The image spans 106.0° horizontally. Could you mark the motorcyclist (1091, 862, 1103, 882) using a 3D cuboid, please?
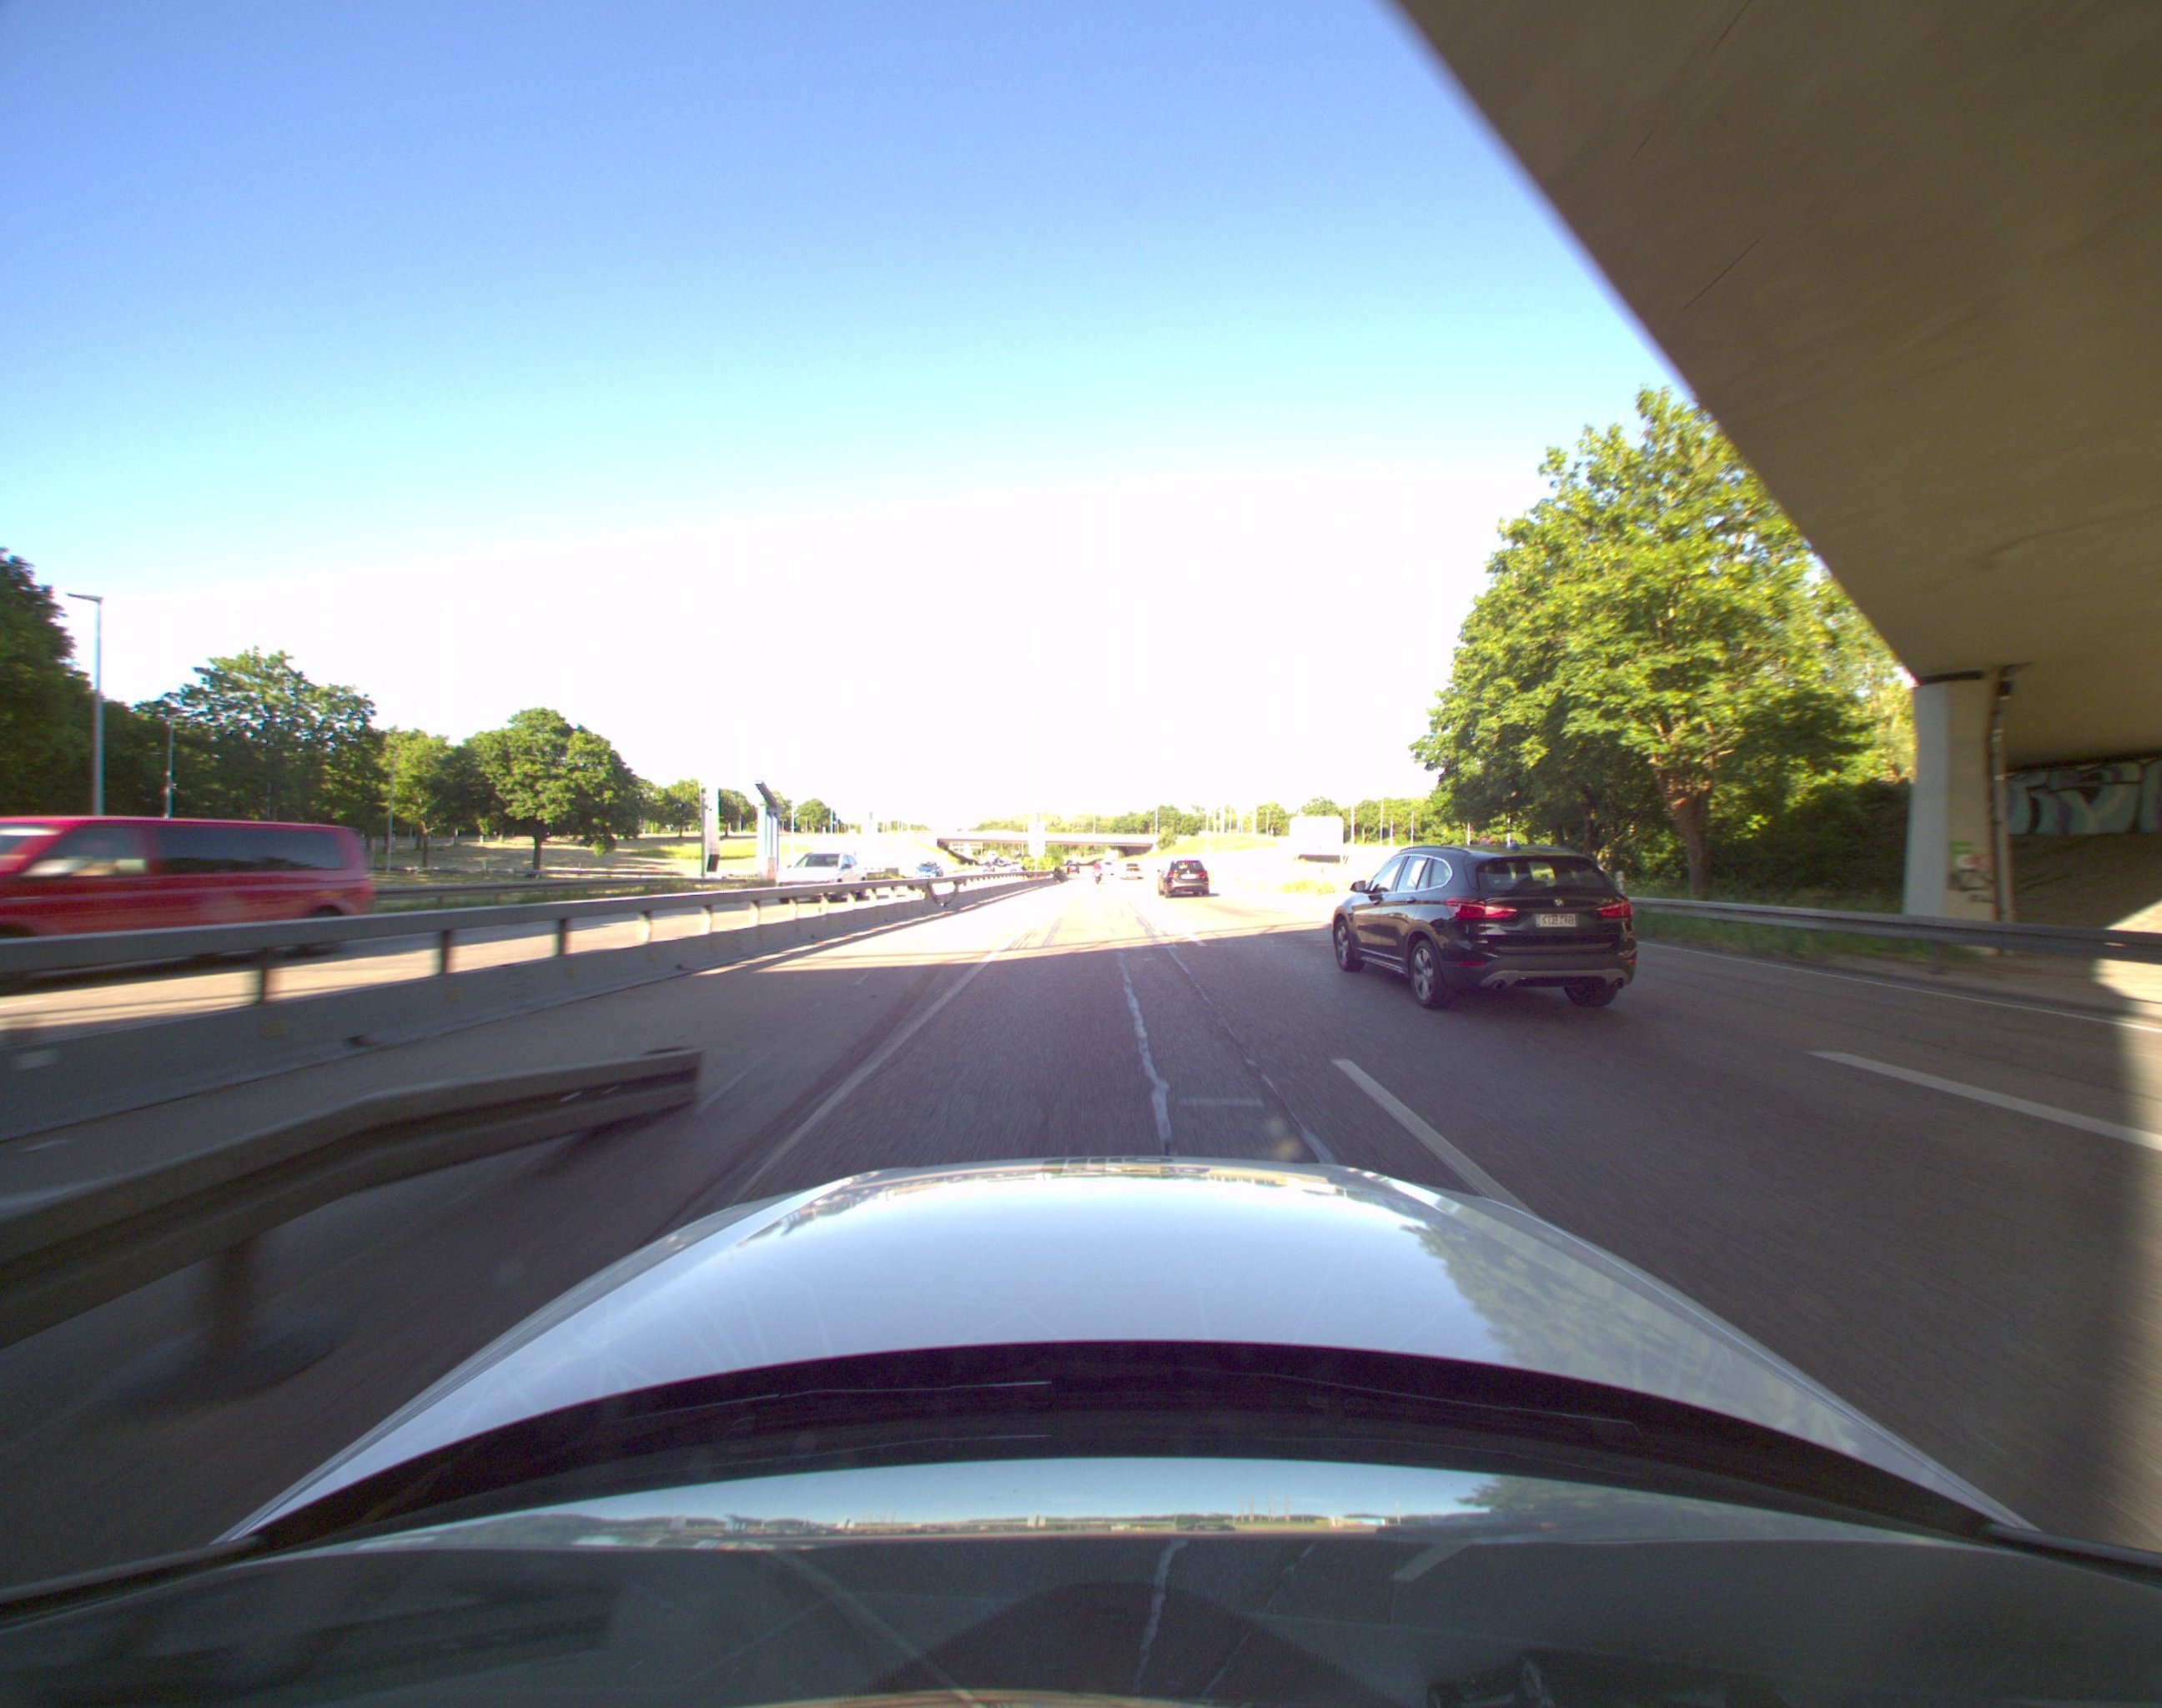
[{"bbox_3d":[1.122,1.271,57.947,0.813,1.447,1.094,-1,0,2],"label":"motorcyclist"}]

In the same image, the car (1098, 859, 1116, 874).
[{"bbox_3d":[3.165,1.491,98.493,1.892,1.767,3.997,-2,0,-2],"label":"car"}]

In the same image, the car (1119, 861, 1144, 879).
[{"bbox_3d":[4.432,1.396,72.259,1.891,1.471,3.998,-1,0,-1],"label":"car"}]

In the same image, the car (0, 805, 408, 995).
[{"bbox_3d":[-11.818,0.488,10.269,1.986,1.910,5.522,0,-1,1],"label":"car"}]

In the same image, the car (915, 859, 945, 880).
[{"bbox_3d":[-12.056,1.237,65.262,1.668,1.572,4.319,-1,-1,-1],"label":"car"}]

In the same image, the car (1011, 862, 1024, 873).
[{"bbox_3d":[-9.115,1.954,117.498,1.712,1.575,4.160,-1,-1,-2],"label":"car"}]

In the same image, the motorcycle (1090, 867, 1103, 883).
[{"bbox_3d":[1.128,1.494,58.048,0.813,1.069,2.838,-1,0,3],"label":"motorcycle"}]

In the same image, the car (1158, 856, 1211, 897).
[{"bbox_3d":[4.182,0.961,33.623,1.692,1.506,4.580,-3,-2,2],"label":"car"}]

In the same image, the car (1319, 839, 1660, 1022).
[{"bbox_3d":[4.210,0.673,9.344,1.748,1.573,4.522,-1,0,2],"label":"car"}]

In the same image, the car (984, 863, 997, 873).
[{"bbox_3d":[-13.619,2.036,122.486,1.605,1.485,3.389,-1,-1,-2],"label":"car"}]

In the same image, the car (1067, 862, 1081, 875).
[{"bbox_3d":[-1.001,2.110,115.919,1.891,1.767,4.000,0,0,0],"label":"car"}]

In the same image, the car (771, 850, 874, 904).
[{"bbox_3d":[-8.287,0.702,26.550,1.780,1.578,4.533,-1,-1,1],"label":"car"}]

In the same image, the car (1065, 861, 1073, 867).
[{"bbox_3d":[-3.245,2.794,222.334,1.862,1.685,4.000,1,-1,0],"label":"car"}]
